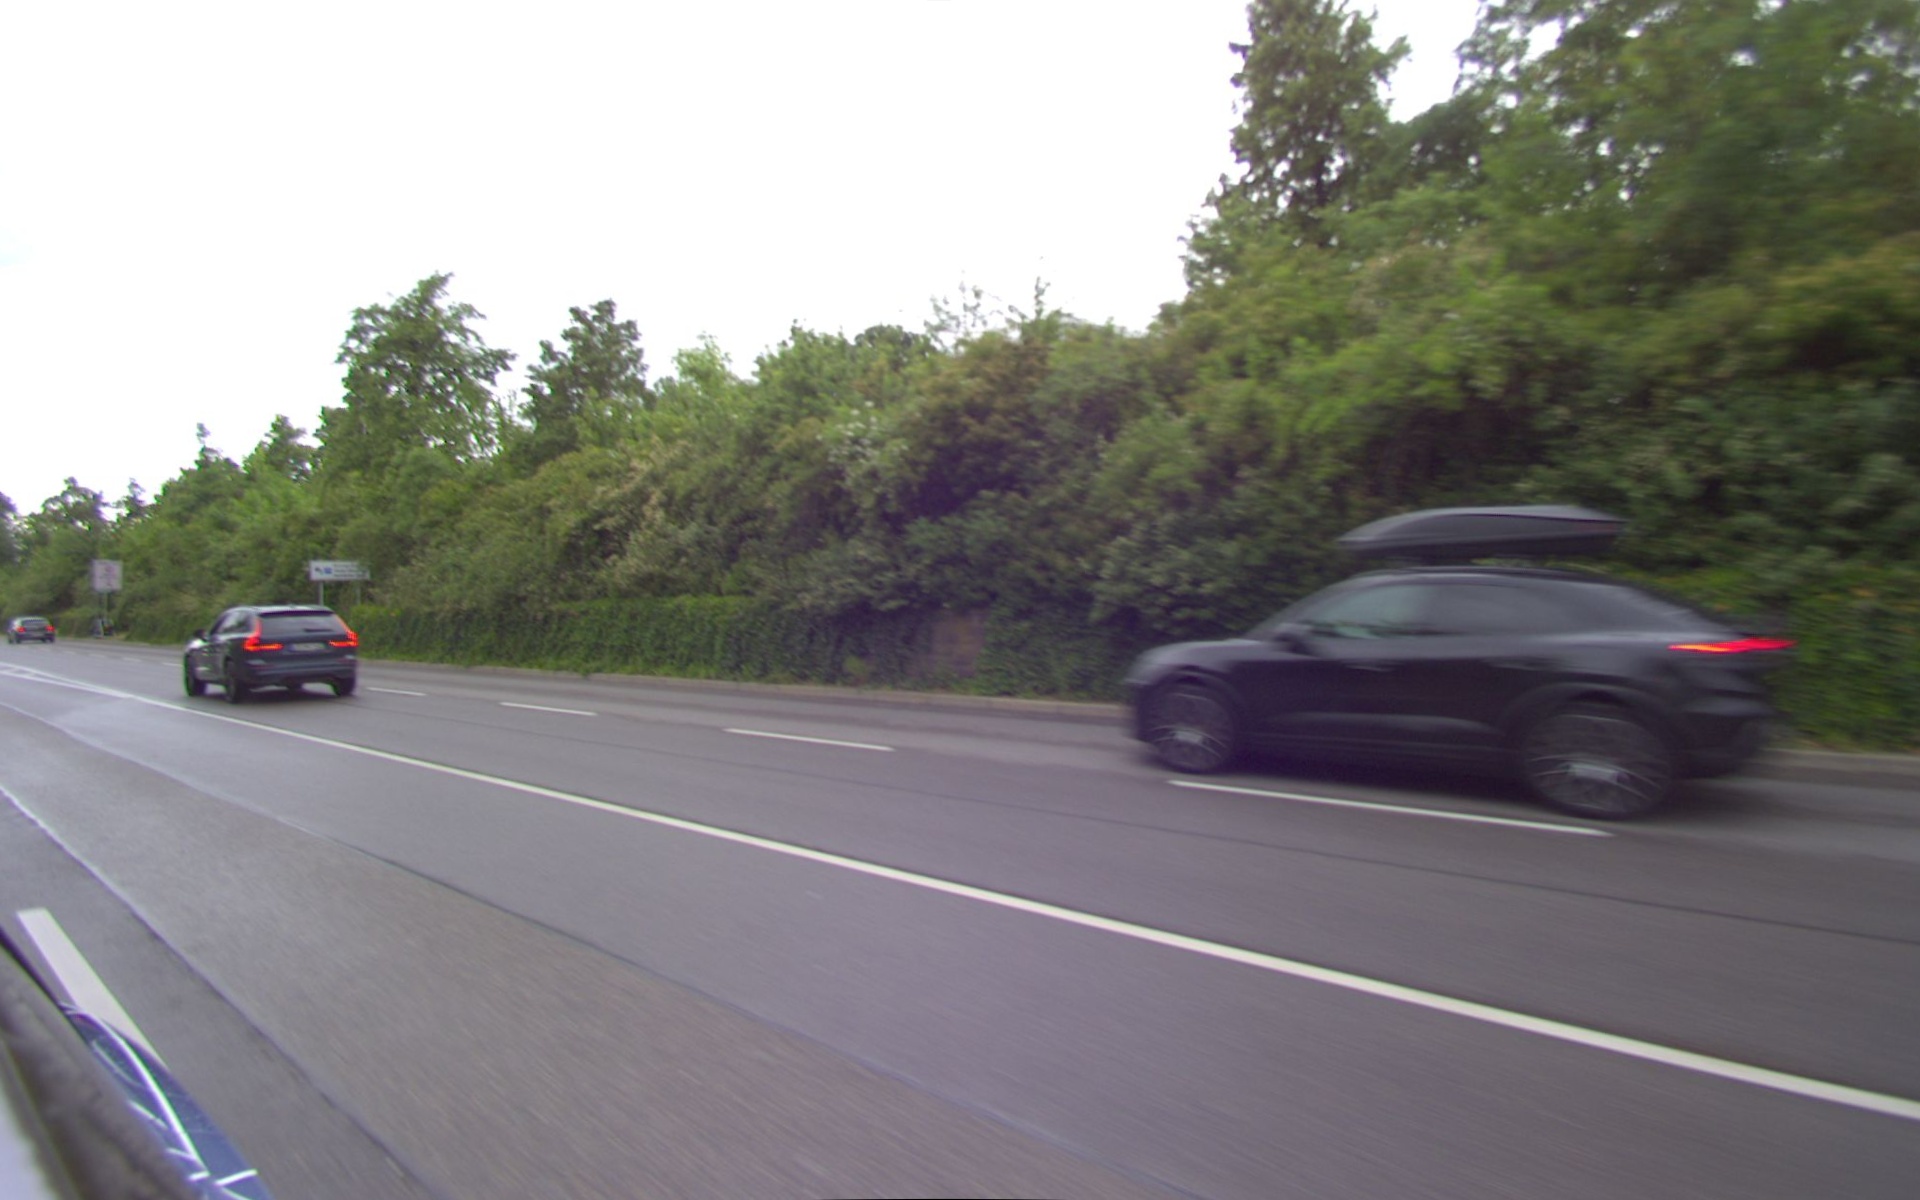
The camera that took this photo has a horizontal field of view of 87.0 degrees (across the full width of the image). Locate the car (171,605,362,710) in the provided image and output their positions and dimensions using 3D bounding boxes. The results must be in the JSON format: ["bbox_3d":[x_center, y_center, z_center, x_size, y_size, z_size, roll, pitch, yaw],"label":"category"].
[{"bbox_3d":[-12.838,0.984,18.617,4.593,1.670,1.793,-2,-1,41],"label":"car"}]

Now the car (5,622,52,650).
[{"bbox_3d":[-52.063,1.990,56.561,3.694,1.448,1.533,-1,-1,41],"label":"car"}]

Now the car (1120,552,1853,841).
[{"bbox_3d":[3.716,0.548,7.738,4.629,1.564,1.879,-2,0,42],"label":"car"}]
